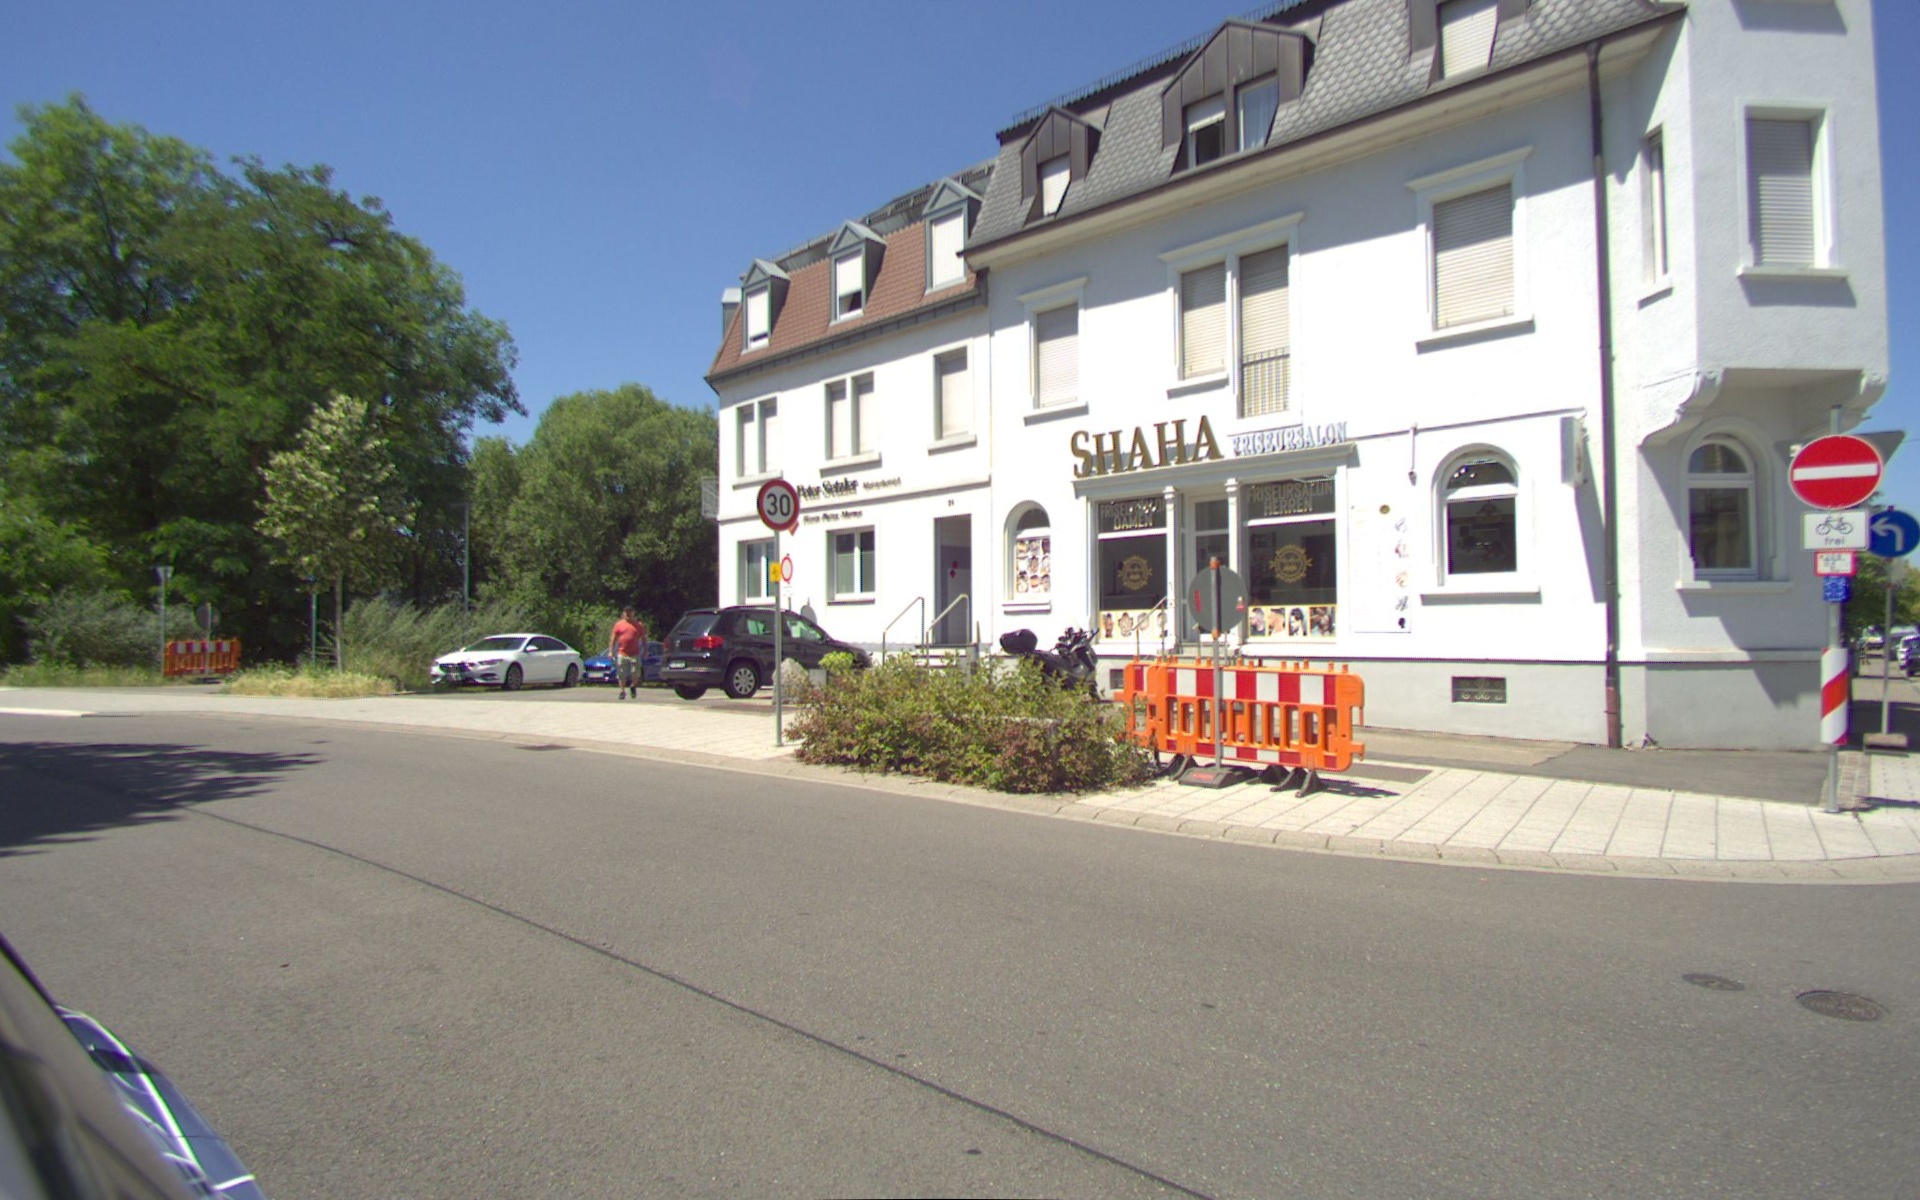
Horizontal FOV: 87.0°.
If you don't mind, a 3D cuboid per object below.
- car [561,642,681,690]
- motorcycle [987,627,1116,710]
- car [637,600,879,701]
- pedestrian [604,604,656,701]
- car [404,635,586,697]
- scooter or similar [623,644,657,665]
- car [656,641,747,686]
[{"bbox_3d":[-10.431,2.065,31.489,1.976,1.355,3.990,1,-4,7],"label":"car"},{"bbox_3d":[1.513,1.060,16.317,0.833,1.227,2.369,0,-1,42],"label":"motorcycle"},{"bbox_3d":[-3.664,0.891,18.927,1.969,1.675,4.138,-2,-2,40],"label":"car"},{"bbox_3d":[-6.132,0.964,18.827,0.728,1.768,0.737,0,-2,-1],"label":"pedestrian"},{"bbox_3d":[-11.476,1.585,25.415,1.976,1.367,4.698,0,-2,7],"label":"car"},{"bbox_3d":[-15.228,2.599,48.177,0.909,0.931,1.620,-1,-2,10],"label":"scooter or similar"},{"bbox_3d":[-9.596,2.337,37.913,1.976,1.554,3.991,0,-2,7],"label":"car"}]
